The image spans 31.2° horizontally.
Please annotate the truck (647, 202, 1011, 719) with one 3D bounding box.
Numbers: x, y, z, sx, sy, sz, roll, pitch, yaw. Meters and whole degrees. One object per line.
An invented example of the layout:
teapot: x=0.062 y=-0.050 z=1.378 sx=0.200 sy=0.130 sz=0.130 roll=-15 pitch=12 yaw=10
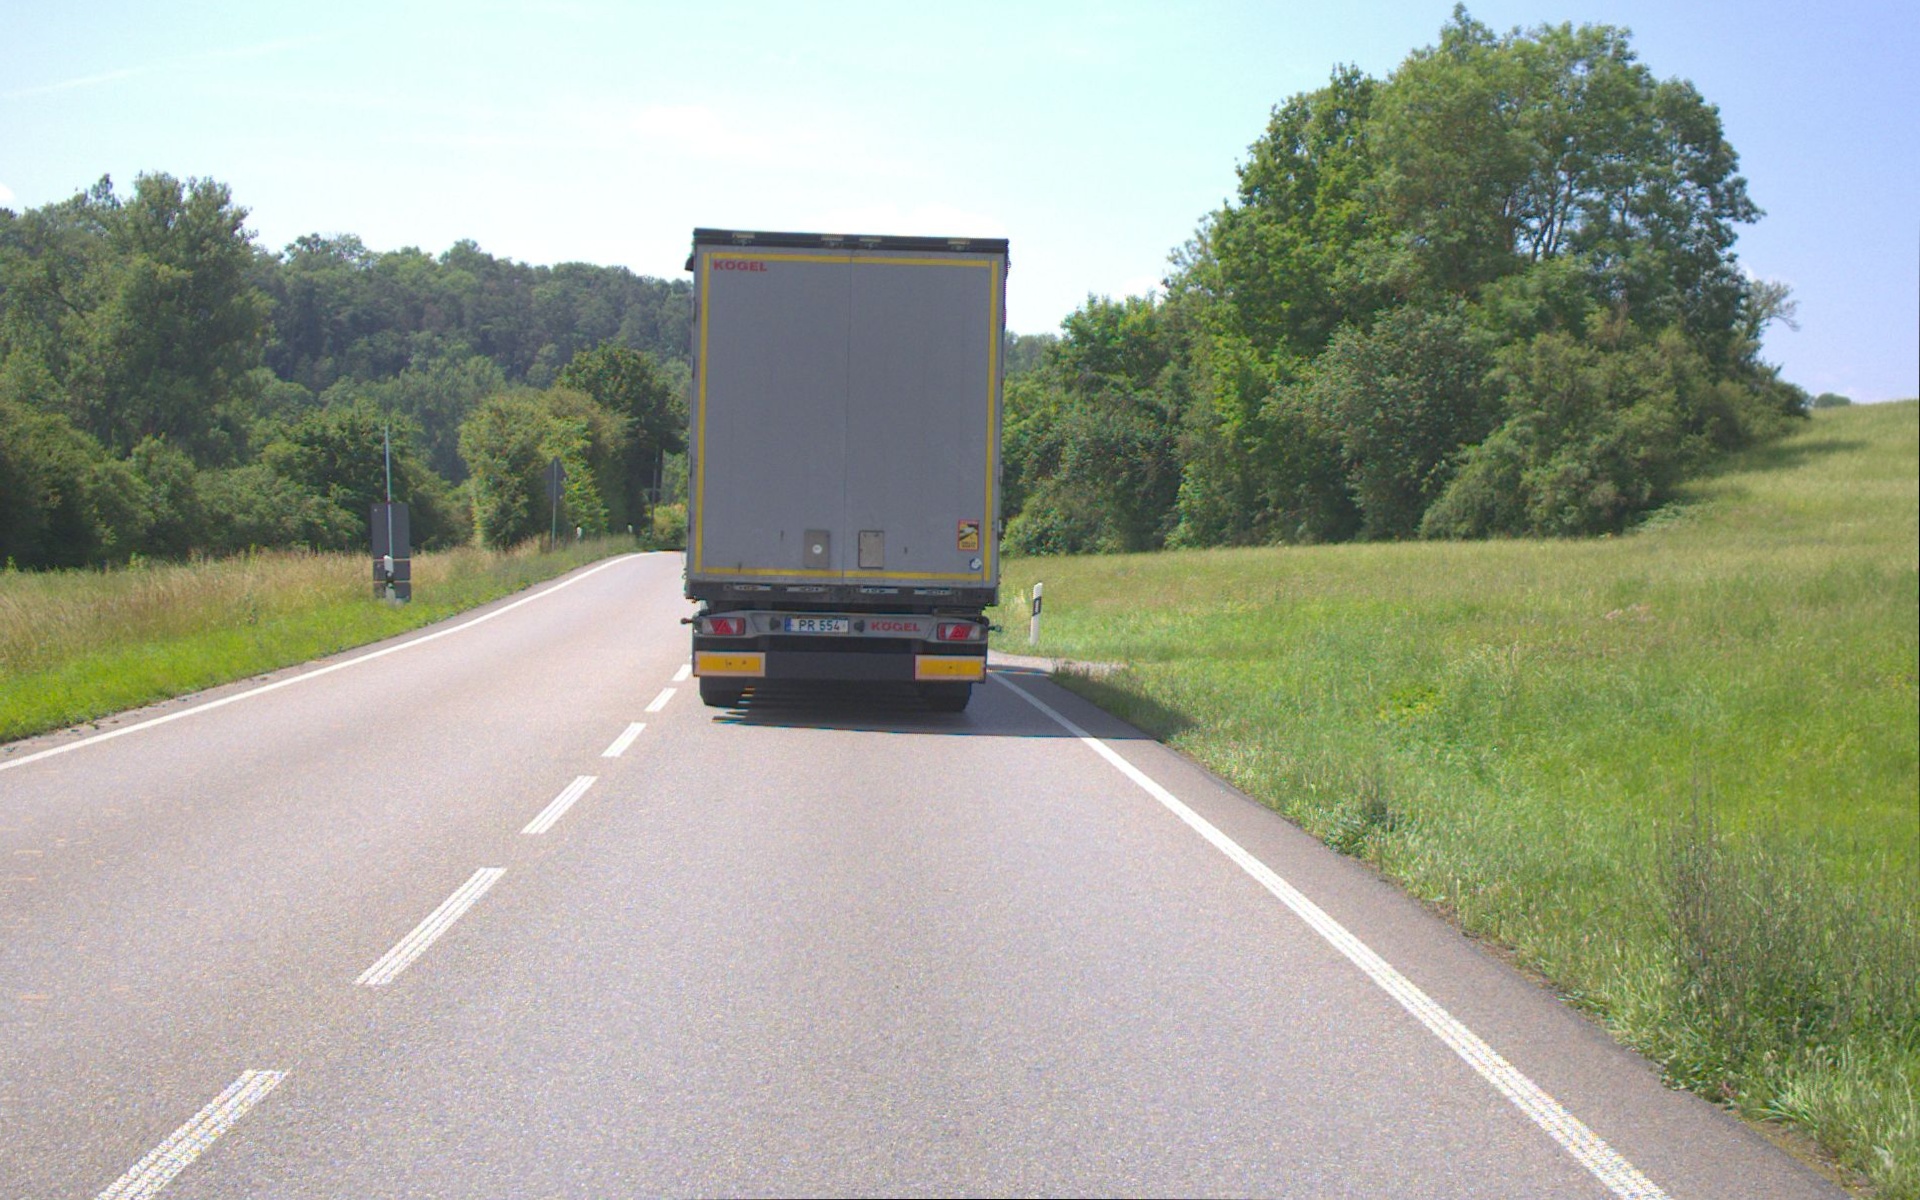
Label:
truck: x=-1.397 y=-1.240 z=35.102 sx=2.801 sy=4.054 sz=15.327 roll=1 pitch=1 yaw=-3
